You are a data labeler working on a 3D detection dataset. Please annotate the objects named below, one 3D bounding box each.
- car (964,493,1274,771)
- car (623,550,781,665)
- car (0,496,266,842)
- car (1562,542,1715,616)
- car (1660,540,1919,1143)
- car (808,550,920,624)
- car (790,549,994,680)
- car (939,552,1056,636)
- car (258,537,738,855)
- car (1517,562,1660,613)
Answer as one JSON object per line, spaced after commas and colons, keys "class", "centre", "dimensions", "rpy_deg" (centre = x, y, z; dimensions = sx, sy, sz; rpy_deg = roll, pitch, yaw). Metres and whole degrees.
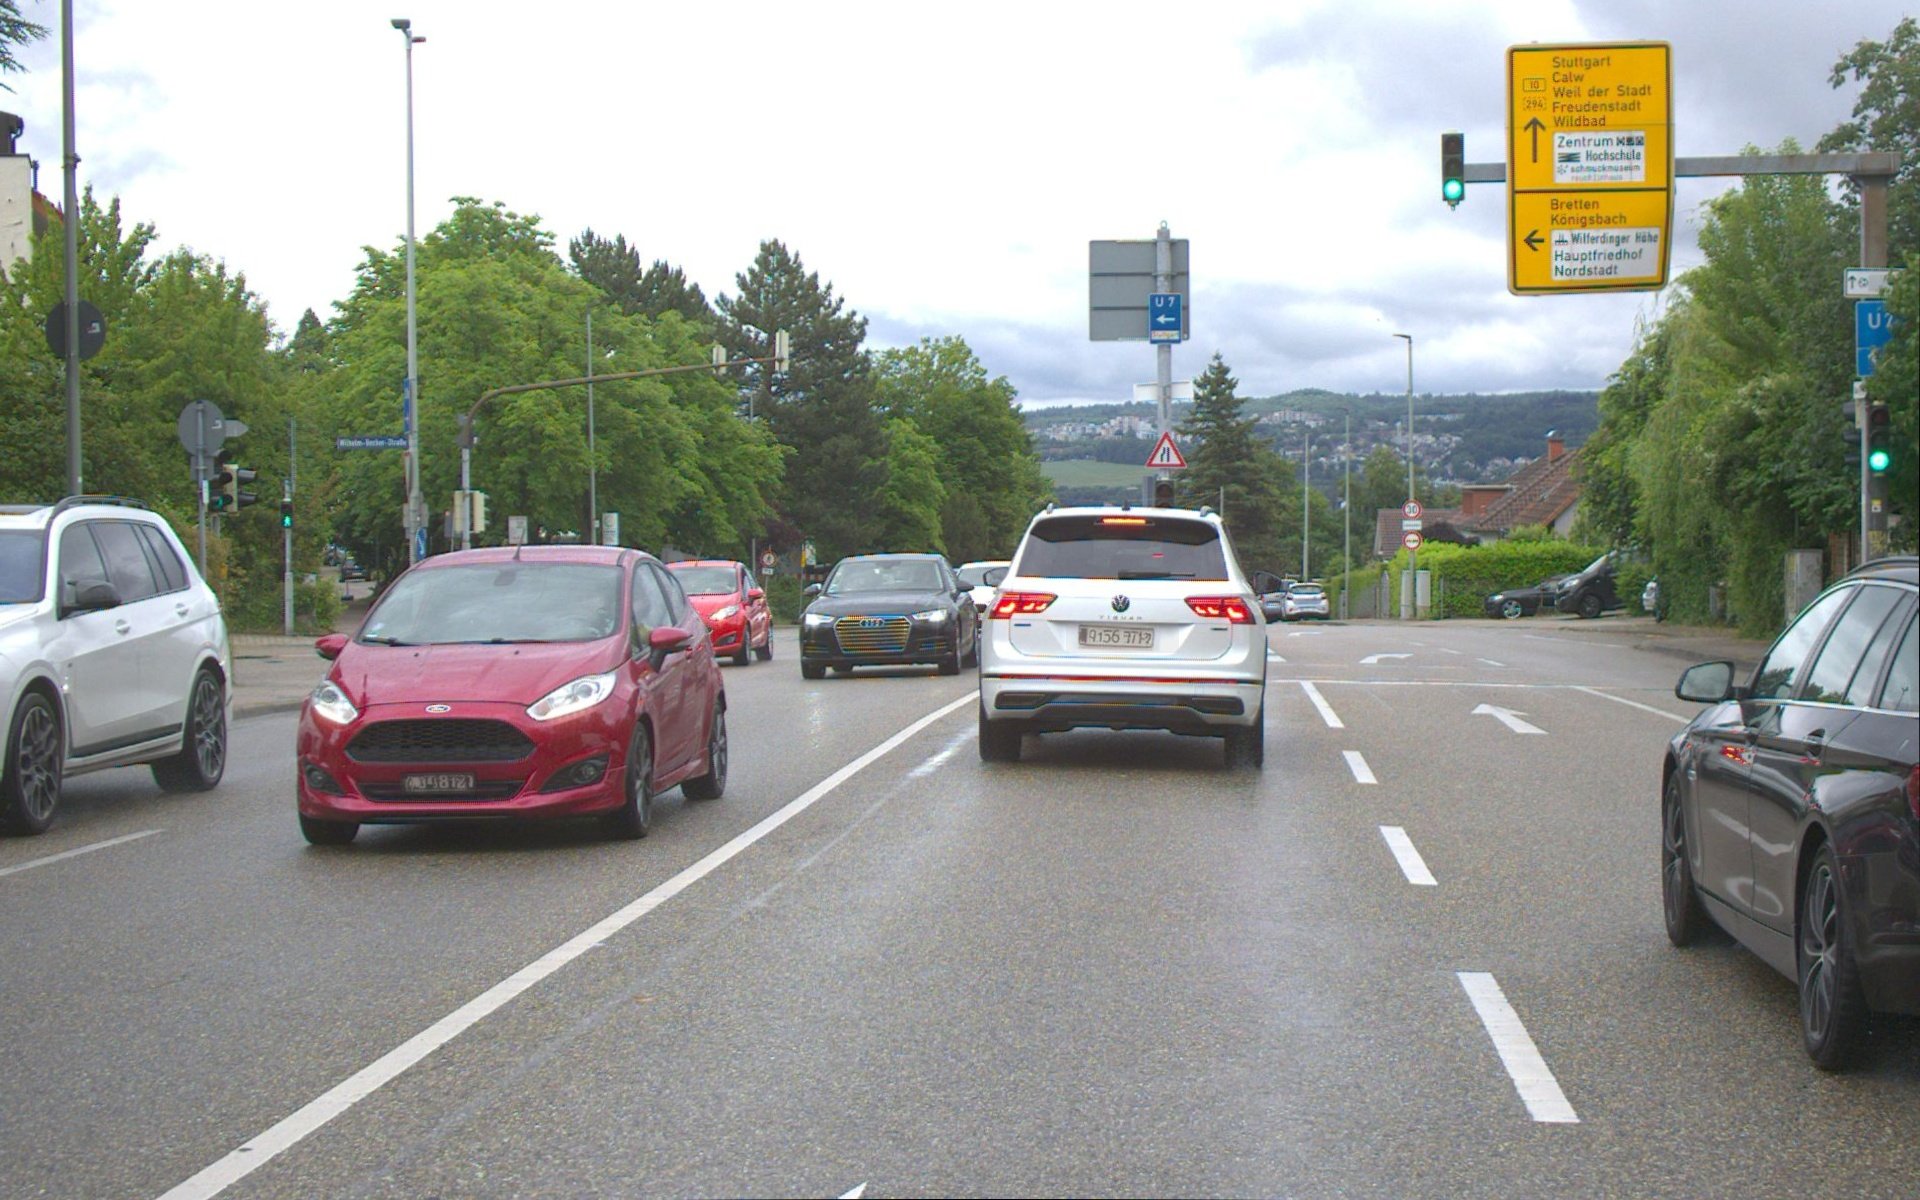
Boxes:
{"class": "car", "centre": [1.110, 0.187, 22.947], "dimensions": [1.869, 1.668, 3.999], "rpy_deg": [1, 0, 4]}
{"class": "car", "centre": [-3.532, 0.078, 47.647], "dimensions": [1.632, 1.451, 3.702], "rpy_deg": [-2, 1, 4]}
{"class": "car", "centre": [-5.684, 0.338, 19.791], "dimensions": [1.917, 1.757, 5.143], "rpy_deg": [-2, 1, 4]}
{"class": "car", "centre": [18.644, -0.594, 94.566], "dimensions": [3.988, 1.949, 1.585], "rpy_deg": [1, 1, 8]}
{"class": "car", "centre": [3.404, 0.617, 10.507], "dimensions": [1.899, 1.436, 4.000], "rpy_deg": [3, 2, 4]}
{"class": "car", "centre": [-1.866, -0.286, 68.183], "dimensions": [1.775, 1.380, 4.549], "rpy_deg": [-1, 1, 4]}
{"class": "car", "centre": [-0.736, 0.130, 40.280], "dimensions": [1.893, 1.399, 4.264], "rpy_deg": [-1, 1, 5]}
{"class": "car", "centre": [0.723, -0.134, 62.711], "dimensions": [1.749, 1.380, 4.410], "rpy_deg": [-2, 1, 5]}
{"class": "car", "centre": [-2.288, 0.418, 17.993], "dimensions": [1.681, 1.414, 3.841], "rpy_deg": [-2, 1, 4]}
{"class": "car", "centre": [18.321, -0.372, 100.339], "dimensions": [3.988, 1.372, 1.585], "rpy_deg": [1, 1, 8]}
